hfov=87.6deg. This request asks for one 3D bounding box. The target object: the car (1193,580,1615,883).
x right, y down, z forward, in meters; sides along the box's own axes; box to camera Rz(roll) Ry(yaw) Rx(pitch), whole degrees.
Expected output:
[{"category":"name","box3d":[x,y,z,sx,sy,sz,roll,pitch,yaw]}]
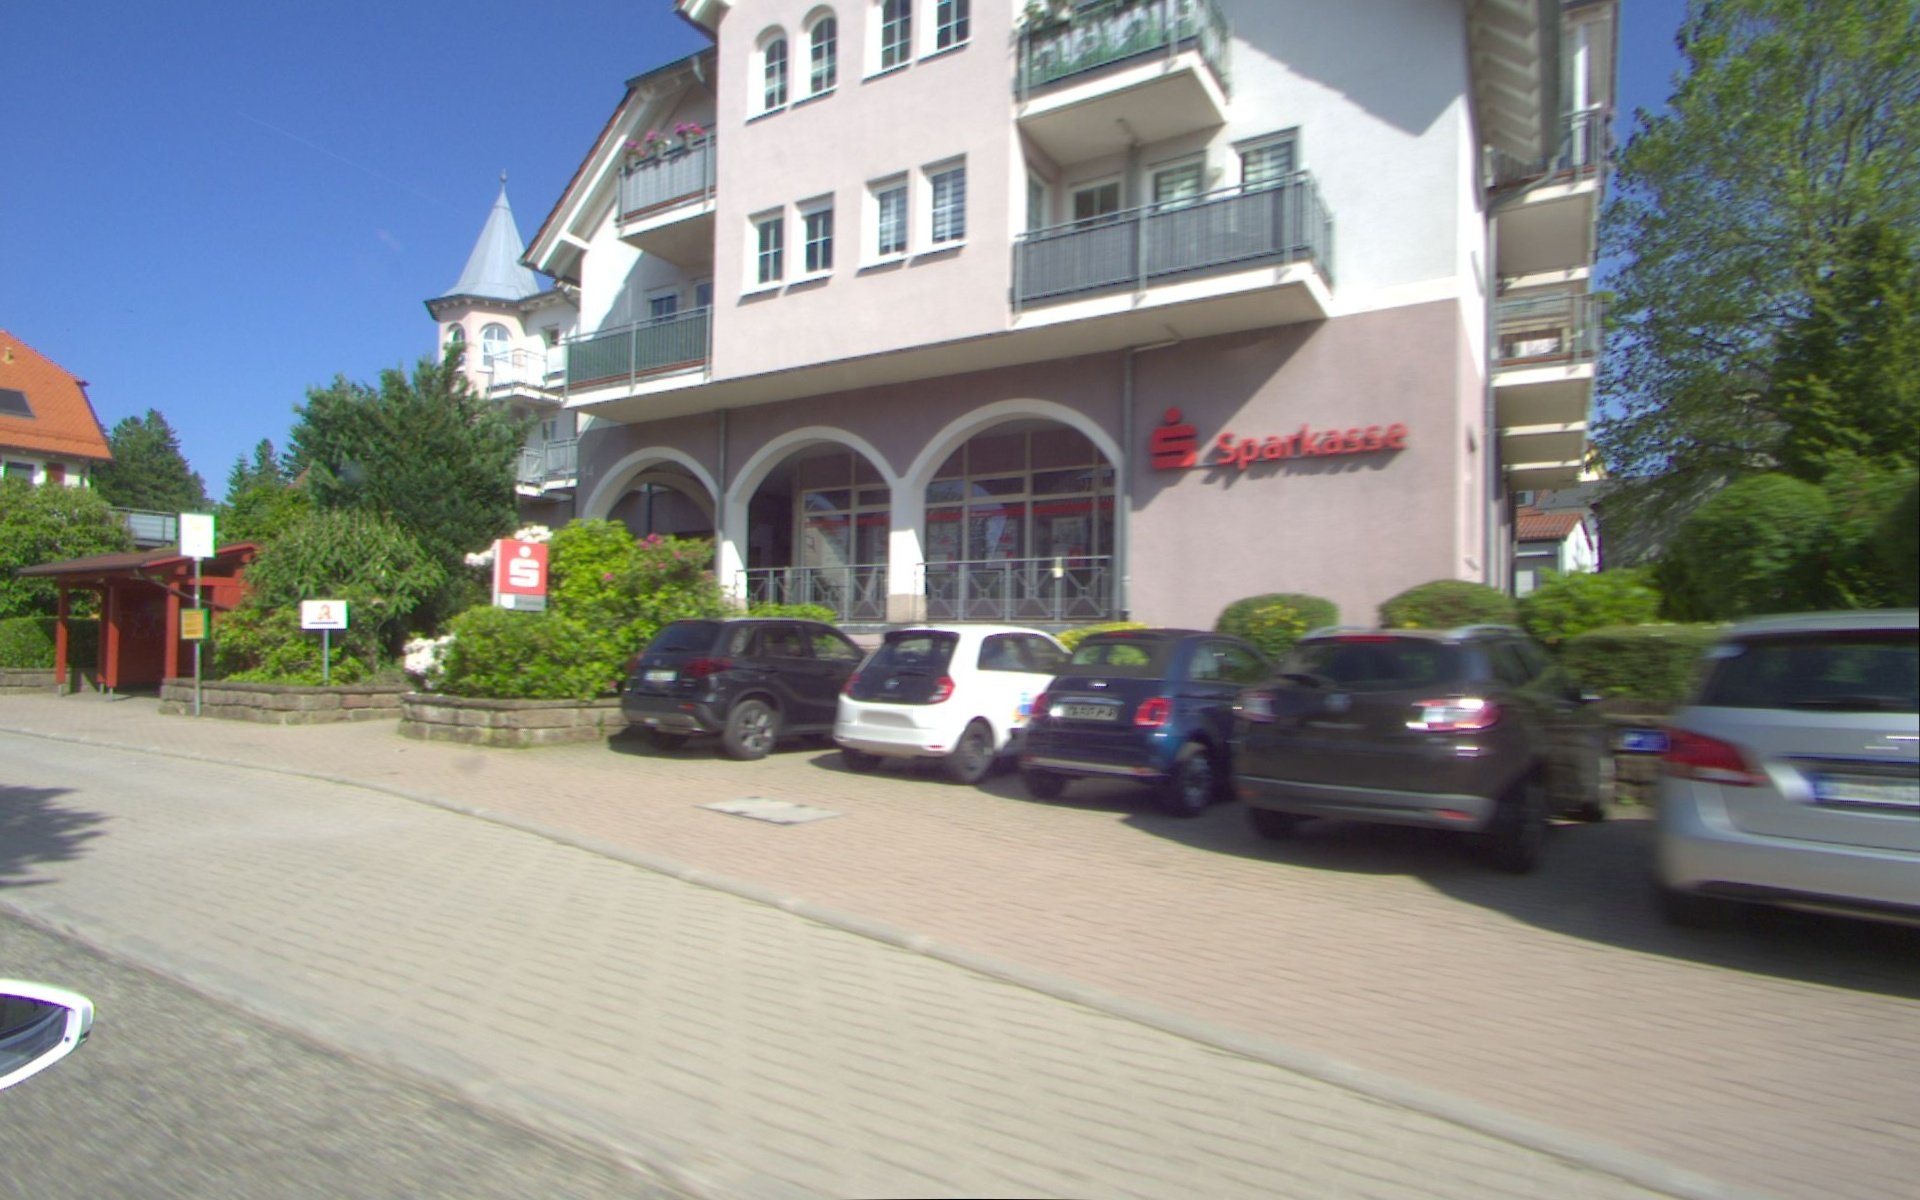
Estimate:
[{"category":"car","box3d":[3.420,0.797,7.268,1.718,1.568,3.970,0,-3,41]}]

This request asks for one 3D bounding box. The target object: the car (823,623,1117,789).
[{"category":"car","box3d":[0.217,1.013,10.933,1.608,1.488,3.221,0,-1,38]}]

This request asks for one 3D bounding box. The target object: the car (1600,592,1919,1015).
[{"category":"car","box3d":[4.861,0.820,5.189,1.942,1.578,3.841,0,-2,43]}]

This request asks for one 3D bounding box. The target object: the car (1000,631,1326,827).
[{"category":"car","box3d":[2.042,1.054,9.326,1.562,1.436,3.547,0,-3,38]}]

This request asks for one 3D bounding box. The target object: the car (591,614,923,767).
[{"category":"car","box3d":[-2.364,0.972,12.611,1.854,1.568,3.978,0,0,33]}]
